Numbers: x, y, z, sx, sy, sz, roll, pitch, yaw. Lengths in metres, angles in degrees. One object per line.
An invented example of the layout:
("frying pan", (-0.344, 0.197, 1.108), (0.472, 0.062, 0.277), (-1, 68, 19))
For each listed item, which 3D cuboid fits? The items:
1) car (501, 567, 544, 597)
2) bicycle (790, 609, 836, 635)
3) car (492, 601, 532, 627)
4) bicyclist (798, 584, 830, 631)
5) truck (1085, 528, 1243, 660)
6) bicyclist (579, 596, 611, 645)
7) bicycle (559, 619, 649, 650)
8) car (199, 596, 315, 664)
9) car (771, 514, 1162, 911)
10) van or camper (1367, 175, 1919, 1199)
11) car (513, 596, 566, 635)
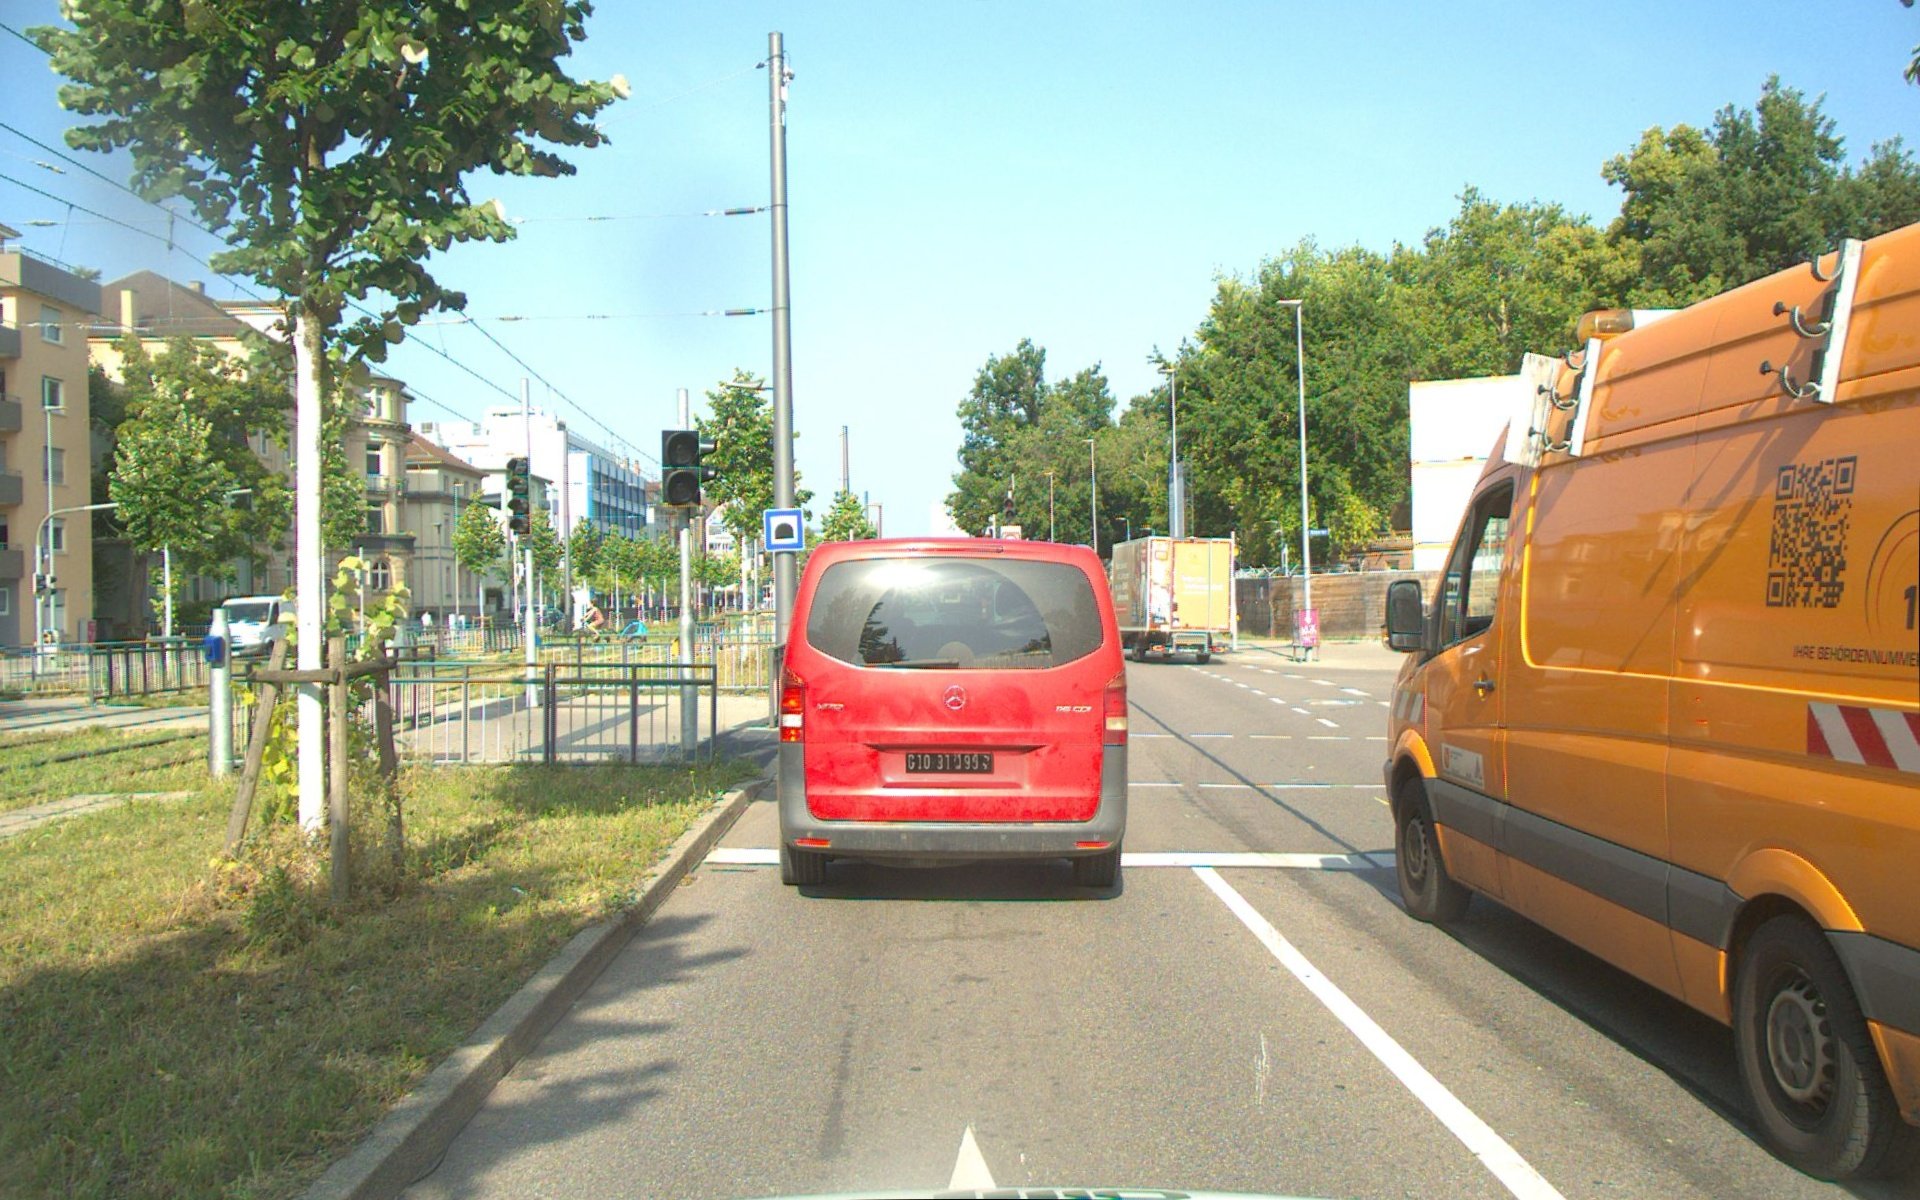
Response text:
("car", (-34.574, -1.403, 130.793), (2.205, 2.049, 5.259), (1, -2, -3))
("bicycle", (-4.664, 0.692, 52.595), (0.704, 0.812, 1.602), (1, -1, 26))
("car", (-30.772, 0.964, 113.751), (1.707, 1.703, 3.999), (-1, 0, -1))
("bicyclist", (-4.635, 0.238, 52.663), (0.672, 1.466, 0.805), (0, -1, 27))
("truck", (5.207, -0.104, 43.598), (2.454, 3.114, 7.810), (1, -1, -6))
("bicyclist", (-12.680, 0.700, 57.475), (0.871, 1.657, 0.892), (-1, 0, 1))
("bicycle", (-12.351, 1.191, 57.450), (2.926, 0.982, 0.900), (-1, 0, 1))
("car", (-24.912, 1.016, 58.858), (2.005, 2.278, 5.332), (-1, 0, -2))
("car", (0.020, 0.547, 9.978), (1.862, 1.892, 3.999), (1, 0, 0))
("van or camper", (3.234, 0.272, 5.981), (1.945, 2.515, 6.059), (0, -1, -1))
("car", (-23.942, 0.897, 94.359), (1.953, 2.049, 3.999), (-3, -1, -1))
